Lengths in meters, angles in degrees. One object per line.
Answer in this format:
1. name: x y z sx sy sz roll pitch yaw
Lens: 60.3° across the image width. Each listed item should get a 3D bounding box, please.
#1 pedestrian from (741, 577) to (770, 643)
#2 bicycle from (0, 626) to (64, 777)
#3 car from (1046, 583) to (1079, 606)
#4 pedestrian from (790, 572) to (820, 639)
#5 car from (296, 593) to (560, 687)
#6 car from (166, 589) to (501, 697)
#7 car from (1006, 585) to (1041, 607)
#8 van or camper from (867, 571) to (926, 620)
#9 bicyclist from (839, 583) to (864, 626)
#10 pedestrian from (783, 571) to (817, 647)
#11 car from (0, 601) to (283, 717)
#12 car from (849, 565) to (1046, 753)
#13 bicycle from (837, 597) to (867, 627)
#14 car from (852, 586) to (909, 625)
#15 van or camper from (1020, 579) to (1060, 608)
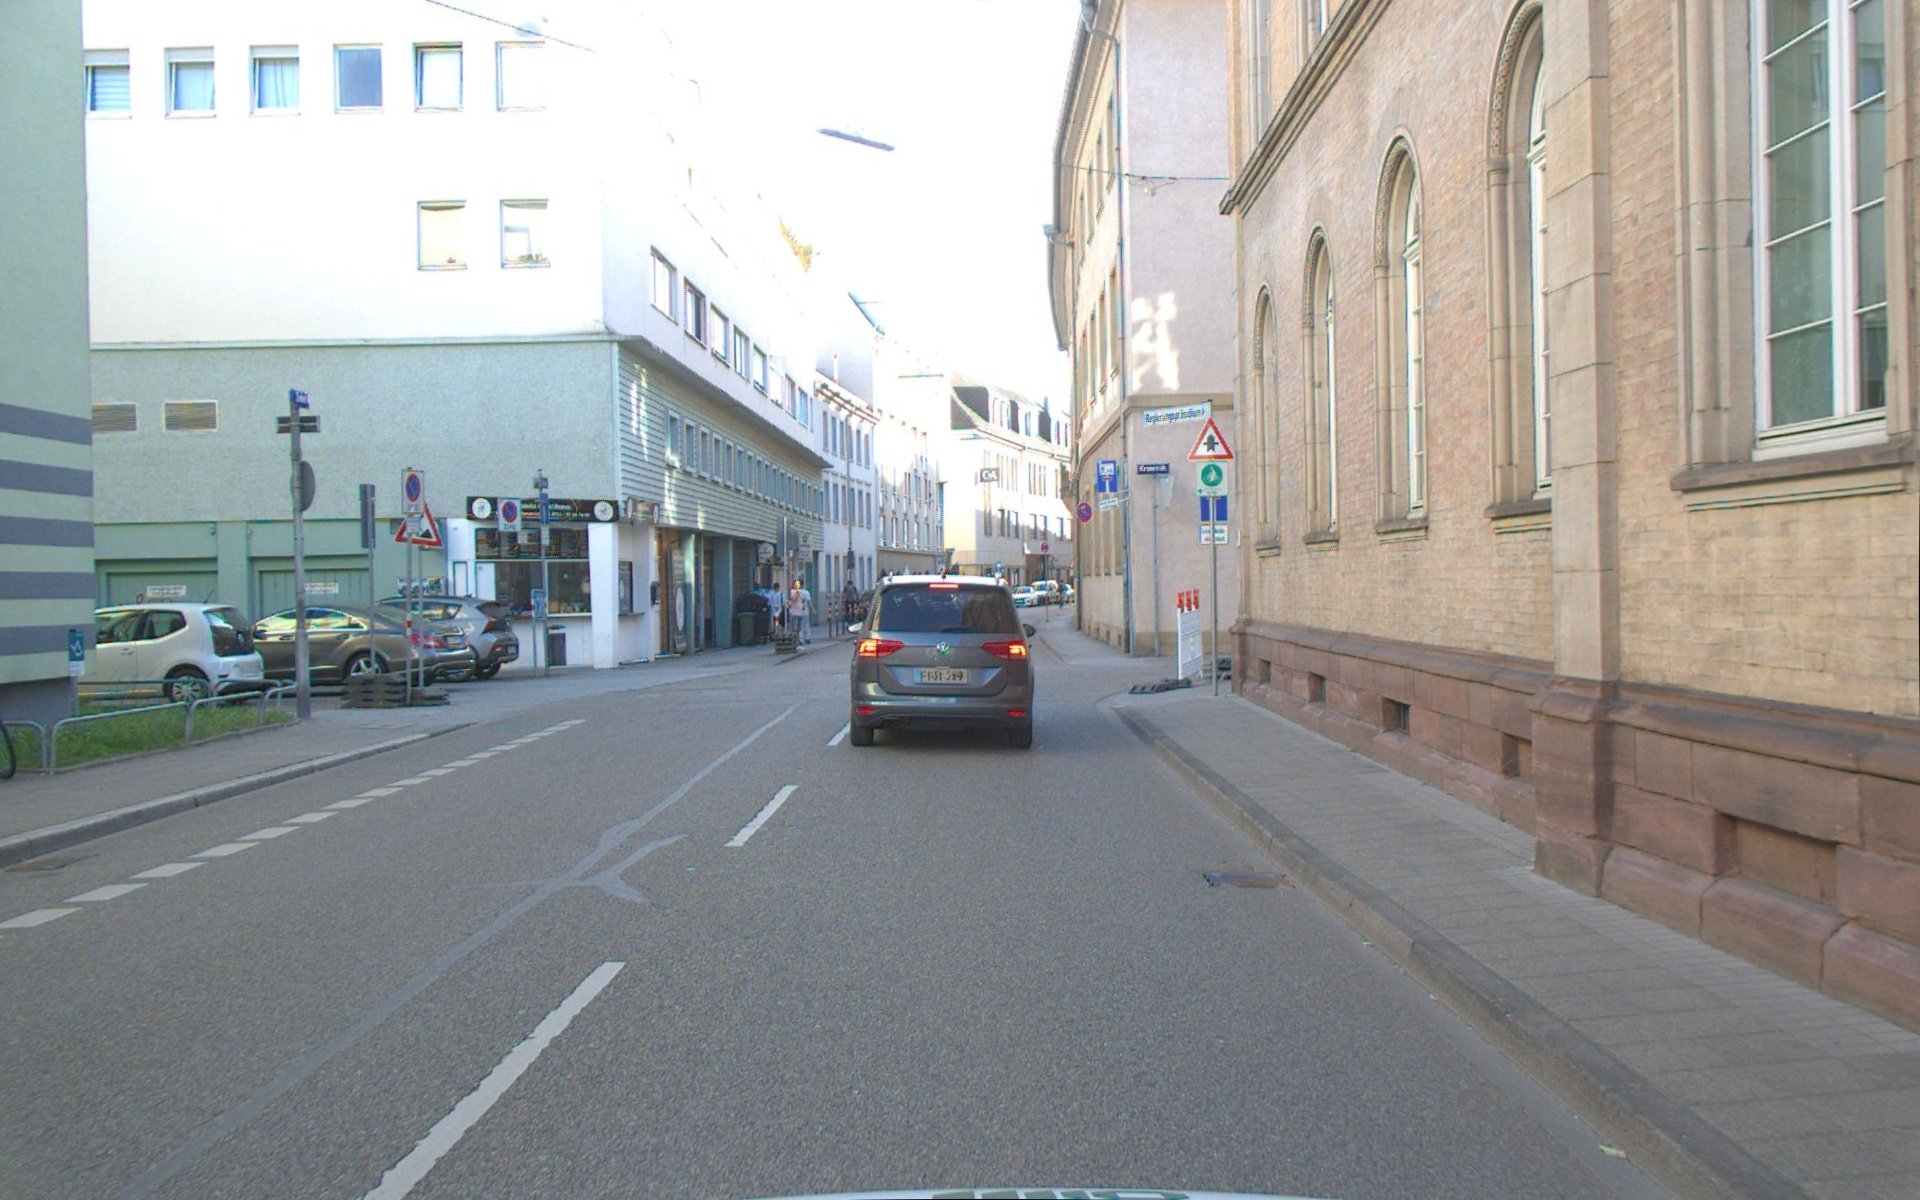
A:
1. pedestrian: -5.832 0.288 47.211 0.713 1.861 0.557 -1 0 -1
2. bicycle: -8.480 0.807 13.522 1.893 1.200 0.612 2 0 -10
3. car: 8.172 -0.420 131.867 1.787 1.756 4.003 -1 0 17
4. pedestrian: -4.347 0.160 46.433 0.544 1.861 0.730 -1 0 23
5. car: -9.417 0.692 29.496 4.013 1.468 1.948 -2 1 1
6. car: -9.851 0.655 26.219 4.516 1.568 2.002 -1 0 7
7. car: 4.617 -0.282 119.820 1.697 1.493 4.004 -1 1 14
8. van or camper: -2.781 -0.219 73.330 1.951 2.049 4.486 -1 0 6
9. bicyclist: -4.047 0.157 61.745 0.813 1.589 0.760 -1 0 3
10. pedestrian: -3.967 0.221 41.070 0.544 1.861 0.730 -1 0 23
11. car: -11.777 0.814 23.605 3.428 1.468 1.814 -2 1 1
12. car: -0.131 0.517 16.889 1.726 1.635 3.999 2 0 -1
13. bicycle: -4.032 0.433 61.897 0.813 1.072 2.550 -1 1 3
14. car: -3.201 0.200 67.595 1.826 1.494 3.836 -1 1 5
15. van or camper: 6.096 -0.517 125.563 1.951 2.049 5.002 -1 1 15
